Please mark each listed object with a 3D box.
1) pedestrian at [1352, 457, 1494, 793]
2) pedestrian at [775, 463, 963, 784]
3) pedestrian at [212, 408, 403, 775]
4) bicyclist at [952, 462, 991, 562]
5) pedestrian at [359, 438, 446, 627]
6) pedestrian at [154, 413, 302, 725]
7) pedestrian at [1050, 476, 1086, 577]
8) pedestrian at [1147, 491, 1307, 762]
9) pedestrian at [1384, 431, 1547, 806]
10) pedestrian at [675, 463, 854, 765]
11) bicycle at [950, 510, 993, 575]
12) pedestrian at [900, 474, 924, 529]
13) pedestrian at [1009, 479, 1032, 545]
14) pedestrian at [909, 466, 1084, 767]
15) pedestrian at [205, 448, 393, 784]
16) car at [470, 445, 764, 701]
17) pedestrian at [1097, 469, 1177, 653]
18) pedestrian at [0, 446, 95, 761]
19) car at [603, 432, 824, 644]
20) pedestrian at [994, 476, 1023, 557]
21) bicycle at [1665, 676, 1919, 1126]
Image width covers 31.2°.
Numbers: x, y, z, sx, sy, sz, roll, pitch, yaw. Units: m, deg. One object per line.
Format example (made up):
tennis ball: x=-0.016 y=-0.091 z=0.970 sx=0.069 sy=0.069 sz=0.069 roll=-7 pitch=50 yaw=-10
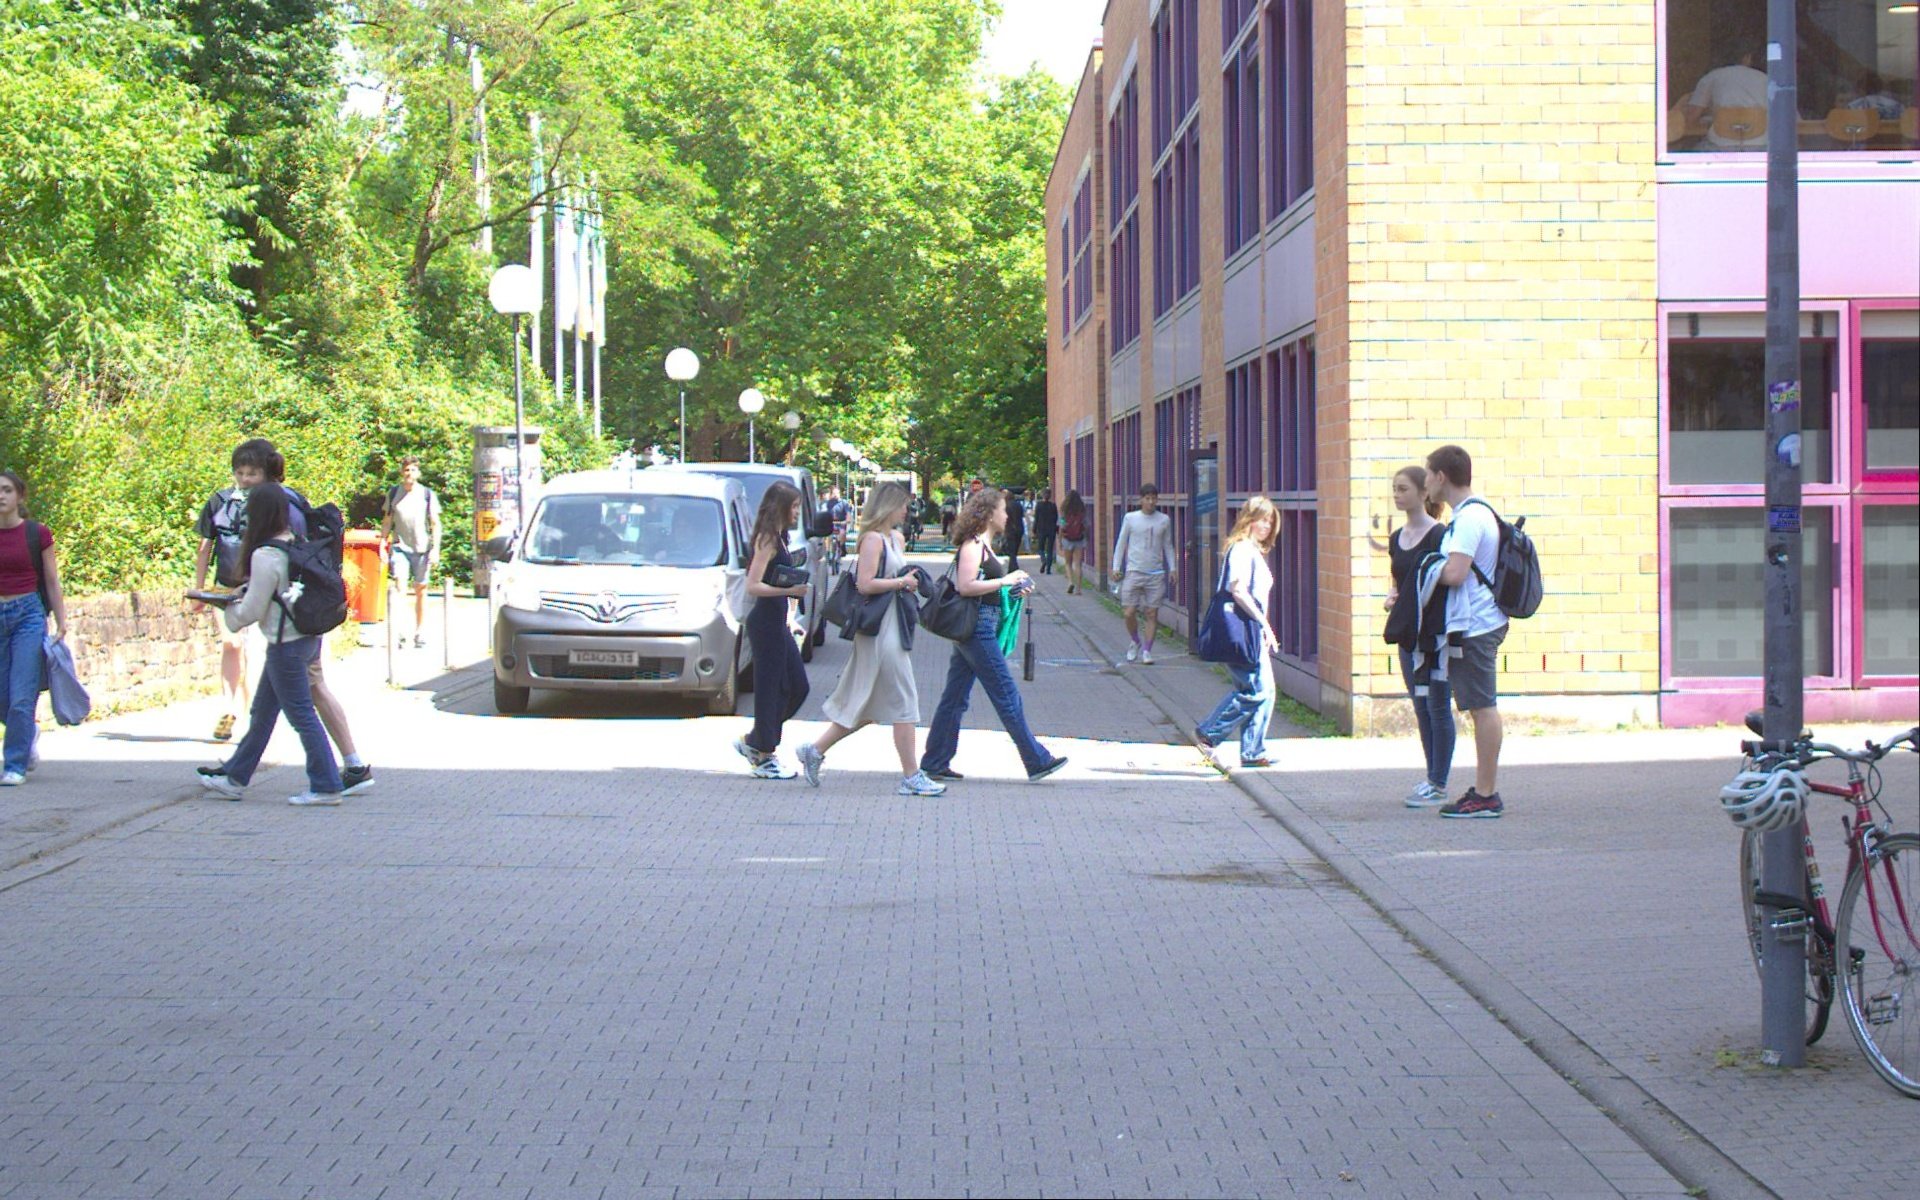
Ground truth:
pedestrian: x=2.340 y=0.122 z=17.396 sx=0.697 sy=1.667 sz=0.588 roll=0 pitch=0 yaw=7
pedestrian: x=-0.483 y=0.120 z=18.478 sx=0.886 sy=1.667 sz=0.559 roll=2 pitch=1 yaw=7
pedestrian: x=-3.374 y=-0.048 z=17.829 sx=0.825 sy=1.838 sz=0.685 roll=2 pitch=1 yaw=-2
bicyclist: x=0.203 y=-1.527 z=59.562 sx=0.587 sy=1.710 sz=0.665 roll=1 pitch=1 yaw=-4
pedestrian: x=-5.532 y=-0.670 z=34.114 sx=0.682 sy=1.838 sz=0.783 roll=2 pitch=1 yaw=0
pedestrian: x=-4.440 y=-0.190 z=20.894 sx=0.682 sy=1.838 sz=0.783 roll=2 pitch=1 yaw=0
pedestrian: x=1.788 y=-1.209 z=56.893 sx=0.586 sy=1.667 sz=0.699 roll=0 pitch=0 yaw=1
pedestrian: x=1.558 y=0.138 z=19.974 sx=0.886 sy=1.537 sz=0.743 roll=0 pitch=2 yaw=7
pedestrian: x=2.450 y=0.084 z=16.704 sx=0.767 sy=1.788 sz=0.588 roll=0 pitch=0 yaw=7
pedestrian: x=-1.095 y=0.069 z=19.379 sx=0.886 sy=1.666 sz=0.643 roll=0 pitch=2 yaw=7
bicycle: x=0.193 y=-0.999 z=59.562 sx=0.587 sy=1.080 sz=1.908 roll=1 pitch=2 yaw=-4
pedestrian: x=-1.461 y=-3.008 z=104.830 sx=0.725 sy=1.667 sz=0.748 roll=0 pitch=0 yaw=1
pedestrian: x=1.752 y=-2.554 z=99.890 sx=0.653 sy=1.915 sz=0.817 roll=0 pitch=0 yaw=1
pedestrian: x=0.199 y=0.091 z=19.439 sx=0.929 sy=1.667 sz=0.588 roll=1 pitch=1 yaw=-3
pedestrian: x=-3.289 y=0.073 z=17.149 sx=0.780 sy=1.615 sz=0.685 roll=2 pitch=1 yaw=-2
car: x=-2.519 y=-0.257 z=26.199 sx=1.790 sy=1.755 sz=4.482 roll=1 pitch=2 yaw=0
pedestrian: x=1.719 y=-0.379 z=33.450 sx=0.682 sy=1.741 sz=0.783 roll=2 pitch=1 yaw=0
pedestrian: x=-5.018 y=0.003 z=18.157 sx=0.682 sy=1.615 sz=0.914 roll=2 pitch=1 yaw=-5
car: x=-2.448 y=-0.674 z=35.283 sx=1.883 sy=1.967 sz=5.215 roll=1 pitch=2 yaw=0
pedestrian: x=1.000 y=-1.707 z=70.520 sx=0.586 sy=1.667 sz=0.817 roll=0 pitch=0 yaw=1
bicycle: x=2.258 y=0.727 z=8.934 sx=0.450 sy=0.958 sz=1.740 roll=-1 pitch=2 yaw=-1
